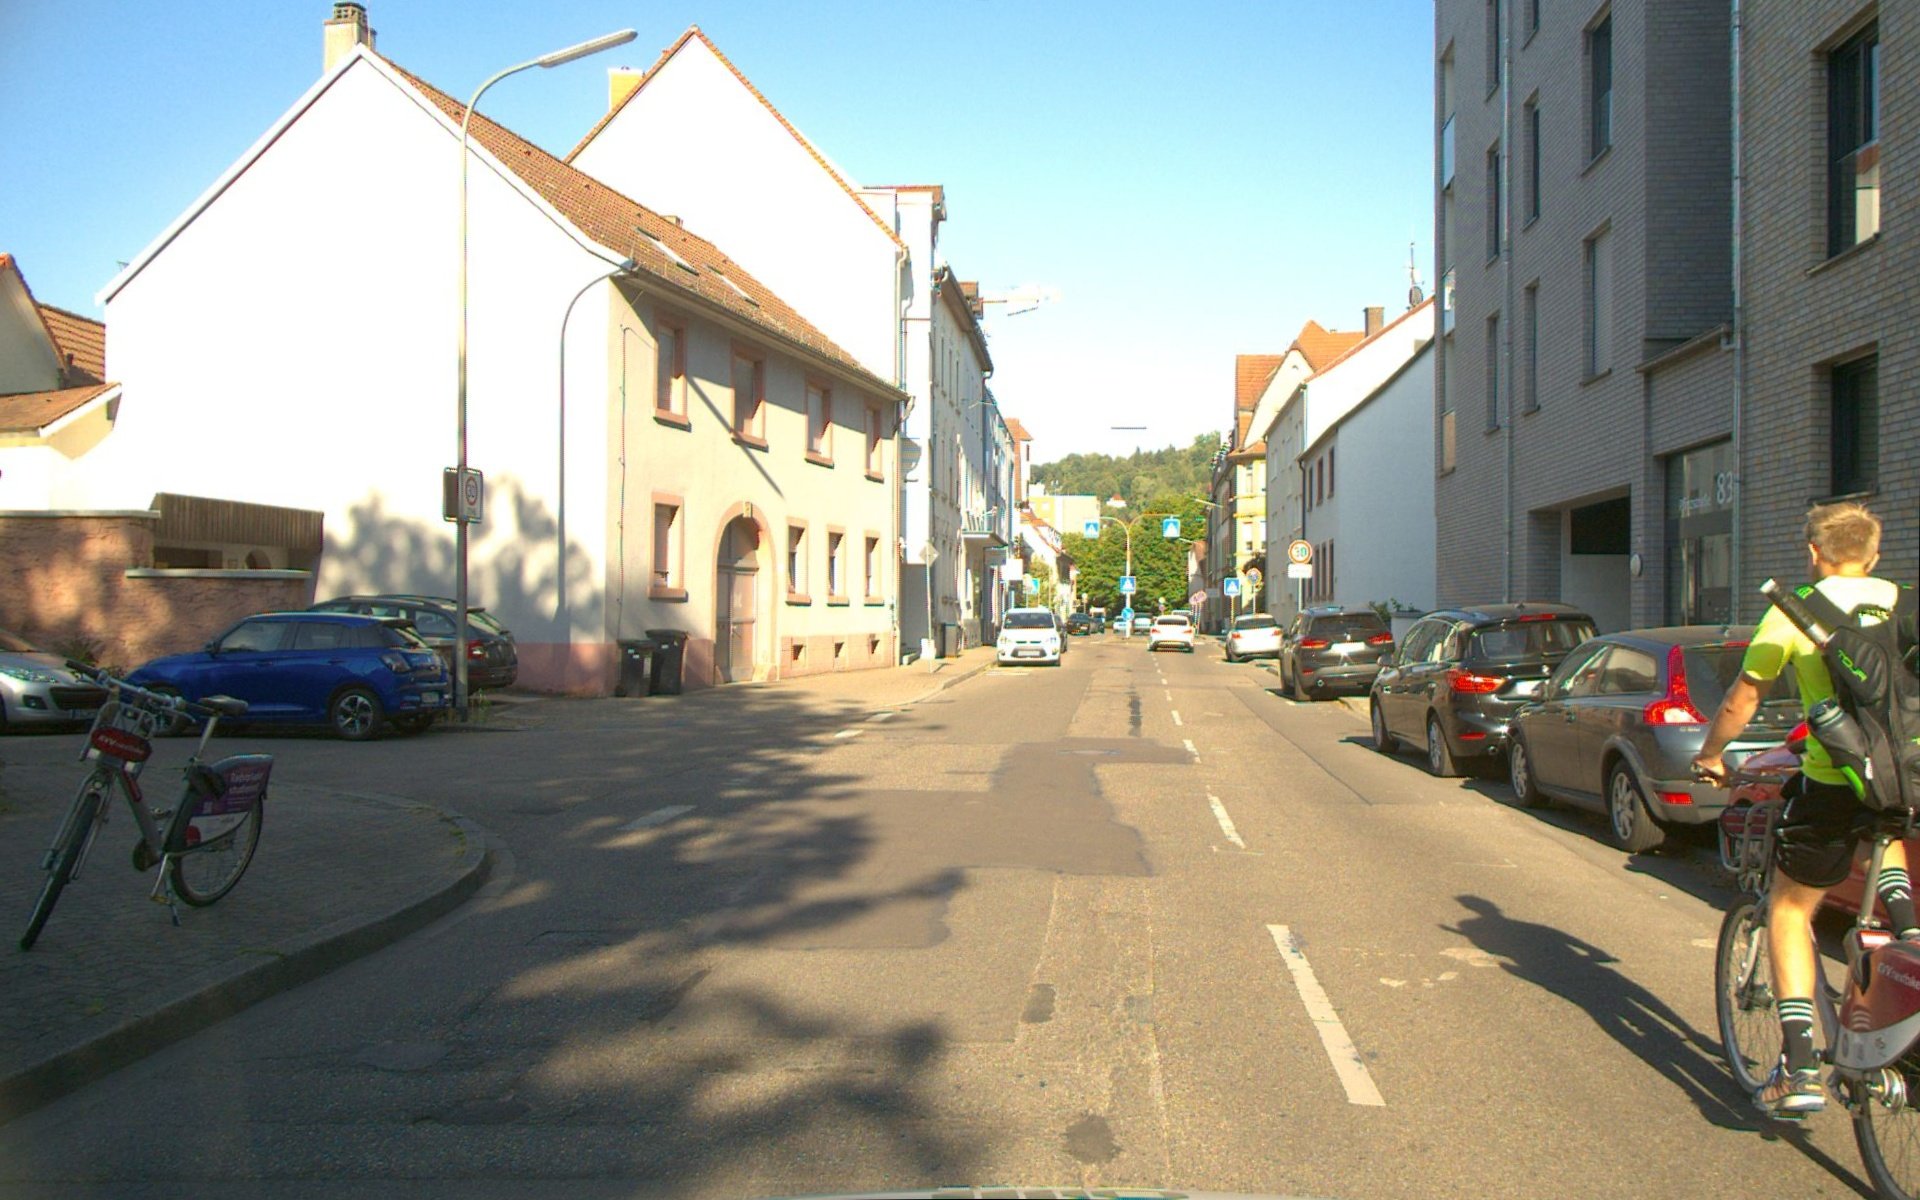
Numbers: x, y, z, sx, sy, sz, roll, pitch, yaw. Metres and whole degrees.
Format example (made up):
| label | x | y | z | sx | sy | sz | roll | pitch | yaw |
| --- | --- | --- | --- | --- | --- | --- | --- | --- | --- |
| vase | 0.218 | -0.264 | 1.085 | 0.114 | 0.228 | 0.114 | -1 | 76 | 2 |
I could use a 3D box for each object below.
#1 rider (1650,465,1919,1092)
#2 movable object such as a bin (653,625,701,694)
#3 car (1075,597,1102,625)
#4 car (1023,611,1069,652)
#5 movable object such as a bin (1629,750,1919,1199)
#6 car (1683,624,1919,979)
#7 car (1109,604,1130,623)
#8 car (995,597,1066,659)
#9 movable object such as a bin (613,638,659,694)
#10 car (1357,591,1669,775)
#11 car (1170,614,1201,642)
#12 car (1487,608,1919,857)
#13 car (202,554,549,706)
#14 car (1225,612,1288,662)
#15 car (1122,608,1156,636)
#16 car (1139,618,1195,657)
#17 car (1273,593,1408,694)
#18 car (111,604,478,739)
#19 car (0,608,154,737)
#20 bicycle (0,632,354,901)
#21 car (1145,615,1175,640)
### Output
| label | x | y | z | sx | sy | sz | roll | pitch | yaw |
| --- | --- | --- | --- | --- | --- | --- | --- | --- | --- |
| rider | 2.546 | 0.481 | 4.784 | 0.640 | 1.589 | 1.083 | 3 | -2 | 3 |
| movable object such as a bin | -4.700 | 0.974 | 27.479 | 0.586 | 1.113 | 0.752 | 1 | -1 | 6 |
| car | 9.687 | 0.852 | 124.804 | 1.951 | 2.049 | 4.002 | 1 | -1 | 4 |
| car | 3.382 | 1.242 | 64.515 | 1.694 | 1.526 | 3.961 | 0 | -1 | 5 |
| movable object such as a bin | 2.516 | 1.028 | 4.827 | 0.445 | 1.051 | 1.841 | 3 | -2 | 4 |
| car | 4.933 | 0.859 | 7.571 | 1.676 | 1.429 | 4.075 | -3 | -1 | 5 |
| car | 15.429 | 1.318 | 160.128 | 1.769 | 1.731 | 4.193 | -2 | -1 | 2 |
| car | 2.071 | 0.806 | 48.284 | 1.952 | 1.677 | 5.223 | 1 | 0 | 3 |
| movable object such as a bin | -5.224 | 1.056 | 26.680 | 0.586 | 0.887 | 0.606 | 0 | -1 | 3 |
| car | 5.653 | 0.762 | 17.586 | 1.952 | 1.682 | 4.764 | 0 | 0 | 3 |
| car | 16.083 | 1.982 | 118.175 | 1.968 | 1.885 | 4.002 | 1 | 0 | 5 |
| car | 5.492 | 0.829 | 12.467 | 1.951 | 1.532 | 4.369 | 0 | 0 | 4 |
| car | -8.485 | 0.384 | 24.225 | 4.271 | 1.825 | 1.990 | 4 | 2 | 7 |
| car | 9.591 | 1.170 | 53.697 | 1.704 | 1.518 | 4.441 | -1 | -1 | 6 |
| car | 13.262 | 1.607 | 122.581 | 1.953 | 2.049 | 3.998 | 0 | -1 | -2 |
| car | 8.168 | 1.459 | 65.594 | 1.952 | 1.492 | 4.001 | 0 | -1 | 3 |
| car | 6.907 | 0.756 | 30.447 | 1.815 | 1.665 | 4.626 | -2 | -1 | 6 |
| car | -8.134 | 0.853 | 20.443 | 3.687 | 1.557 | 2.001 | -1 | 0 | 6 |
| car | -12.590 | 0.881 | 20.821 | 3.902 | 1.527 | 2.001 | -1 | 0 | 6 |
| bicycle | -3.556 | 0.665 | 7.433 | 0.688 | 1.020 | 1.942 | 1 | -1 | 8 |
| car | 16.938 | 2.313 | 140.234 | 1.953 | 2.049 | 3.999 | 1 | -1 | -1 |
